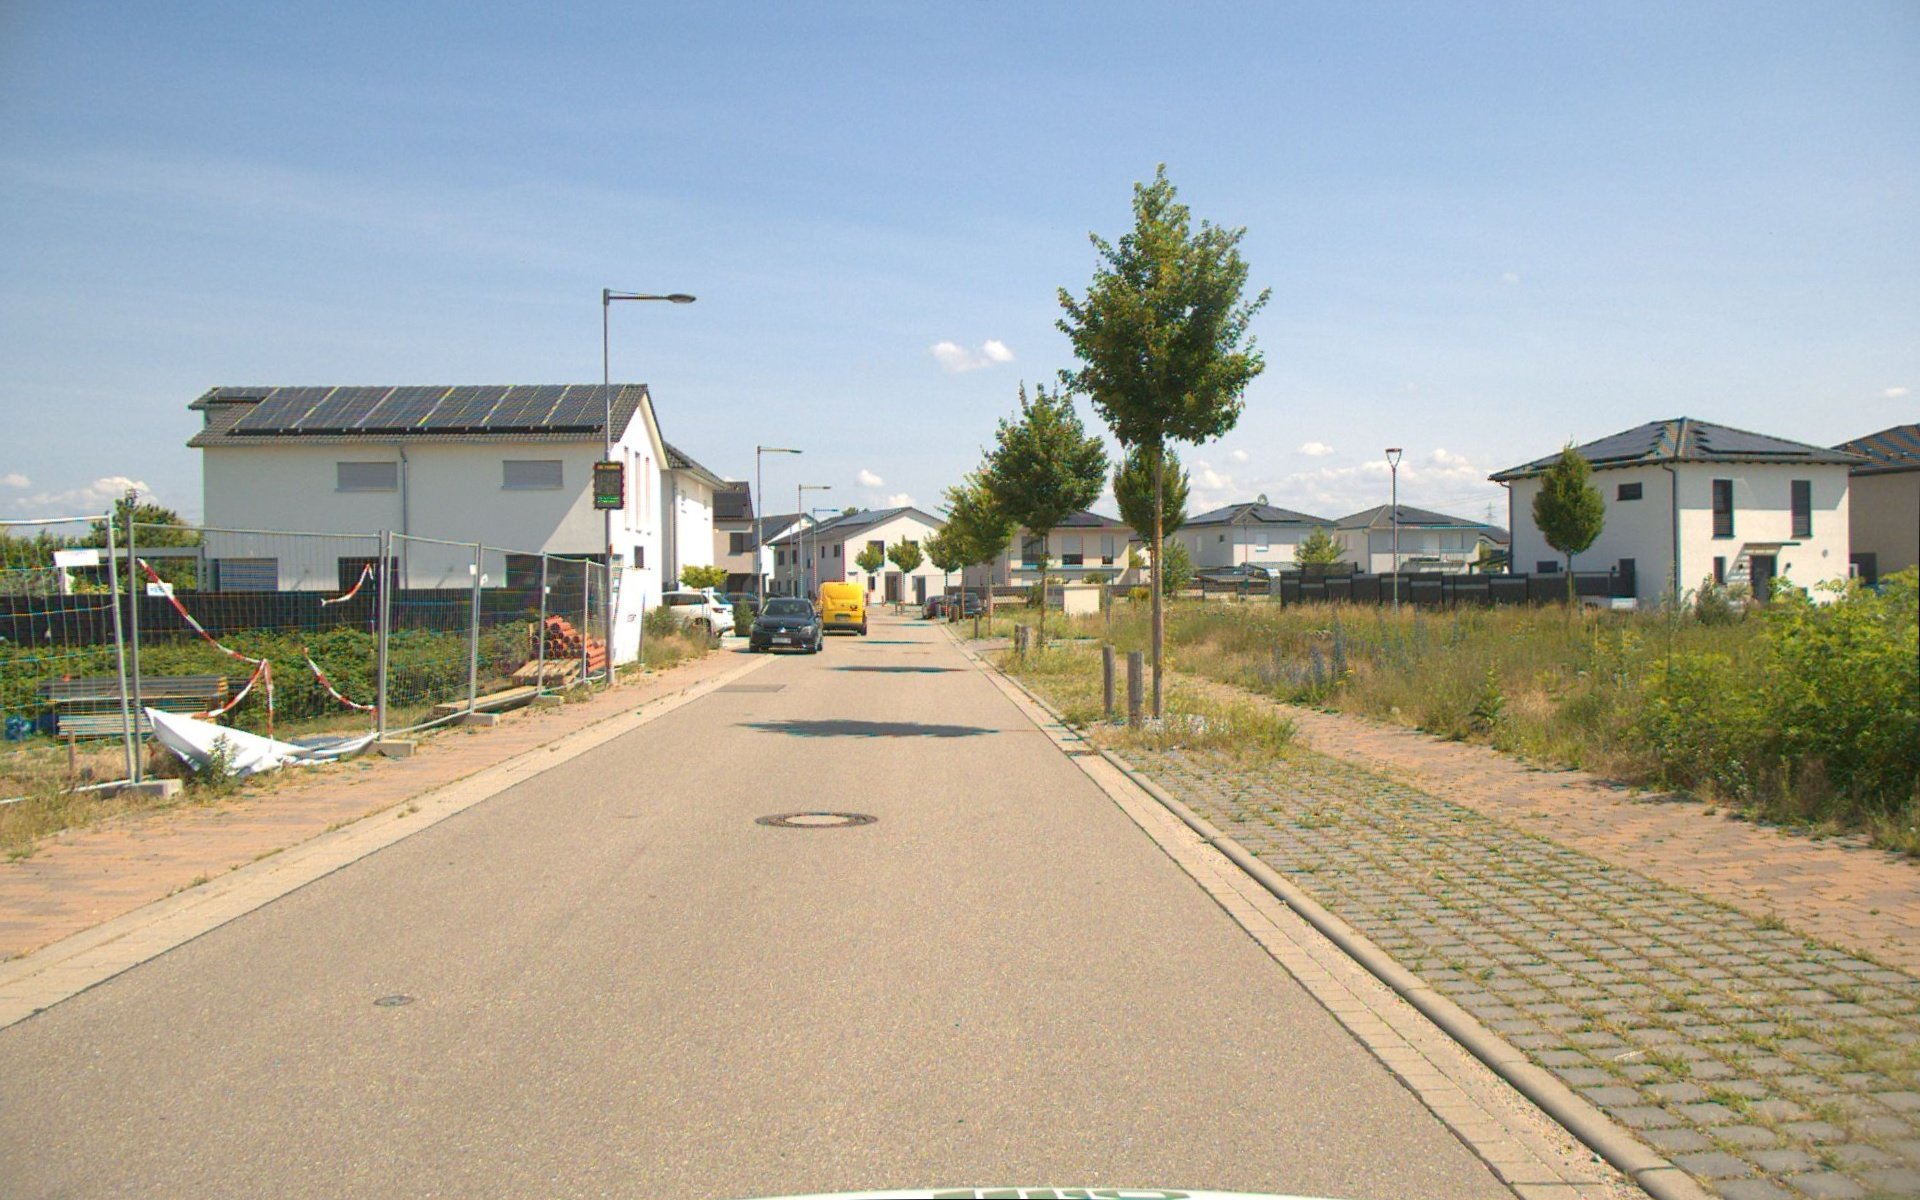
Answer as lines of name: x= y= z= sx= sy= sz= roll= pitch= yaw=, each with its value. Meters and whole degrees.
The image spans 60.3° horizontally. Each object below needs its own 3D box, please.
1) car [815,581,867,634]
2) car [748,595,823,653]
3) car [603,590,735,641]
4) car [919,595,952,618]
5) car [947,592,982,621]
car: x=-4.695 y=0.306 z=65.027 sx=1.904 sy=2.016 sz=4.212 roll=-1 pitch=-1 yaw=-6
car: x=-4.682 y=0.611 z=44.874 sx=1.710 sy=1.429 sz=4.158 roll=2 pitch=0 yaw=-2
car: x=-9.682 y=0.490 z=55.197 sx=3.983 sy=1.609 sz=1.785 roll=1 pitch=1 yaw=4
car: x=-1.568 y=0.423 z=103.840 sx=1.597 sy=1.346 sz=3.825 roll=-1 pitch=-2 yaw=-8
car: x=0.206 y=0.349 z=85.286 sx=1.606 sy=1.427 sz=3.808 roll=-1 pitch=-1 yaw=-3
